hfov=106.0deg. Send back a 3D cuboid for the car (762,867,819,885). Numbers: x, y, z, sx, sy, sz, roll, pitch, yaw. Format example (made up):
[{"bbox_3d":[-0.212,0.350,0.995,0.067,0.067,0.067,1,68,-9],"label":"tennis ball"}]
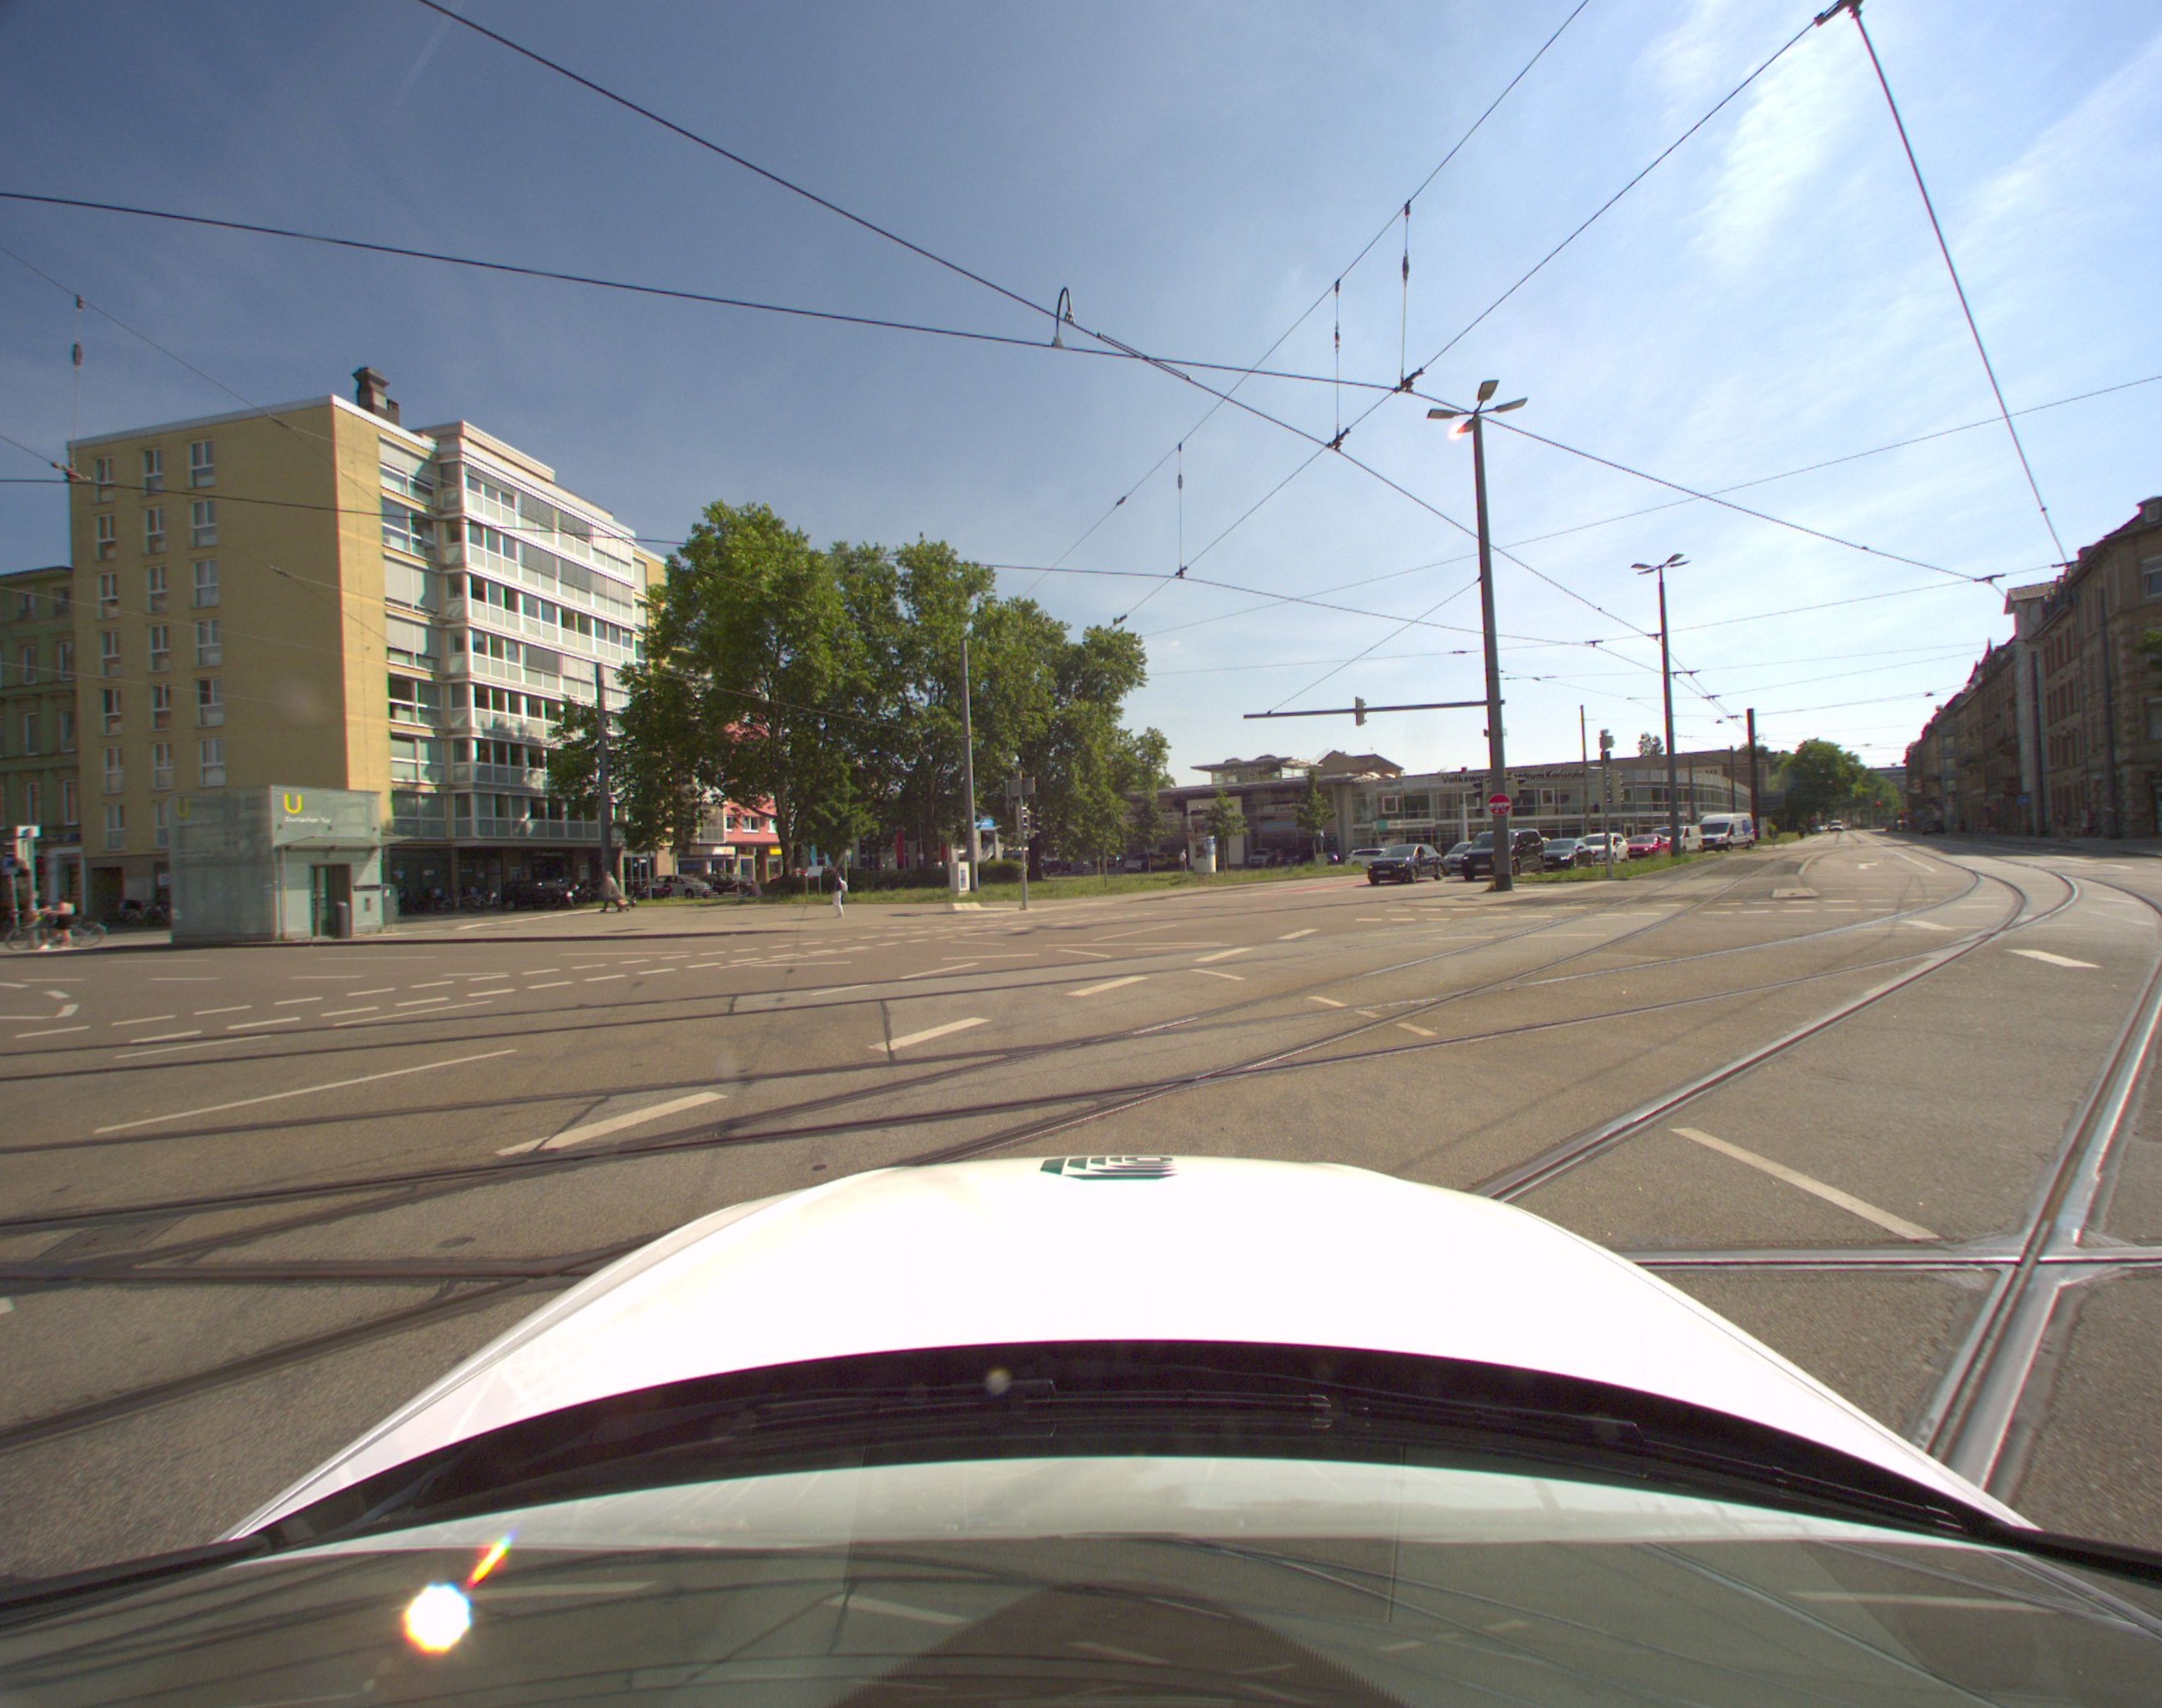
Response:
[{"bbox_3d":[-22.104,1.671,62.051,3.698,1.340,1.750,-1,0,12],"label":"car"}]

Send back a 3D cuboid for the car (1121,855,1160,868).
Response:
[{"bbox_3d":[5.687,0.698,77.932,1.974,1.244,4.026,0,1,34],"label":"car"}]

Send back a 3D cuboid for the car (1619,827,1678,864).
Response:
[{"bbox_3d":[31.801,-0.474,45.611,4.225,1.917,1.877,0,-2,-44],"label":"car"}]

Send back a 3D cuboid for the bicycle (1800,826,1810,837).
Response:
[{"bbox_3d":[80.888,-2.490,90.967,0.745,1.194,2.856,0,0,43],"label":"bicycle"}]

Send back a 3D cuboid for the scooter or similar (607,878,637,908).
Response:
[{"bbox_3d":[-17.859,1.525,31.696,1.346,1.119,0.520,-2,0,39],"label":"scooter or similar"}]

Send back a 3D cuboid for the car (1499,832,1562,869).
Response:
[{"bbox_3d":[23.246,-0.177,42.051,4.225,1.739,1.636,0,-2,-44],"label":"car"}]

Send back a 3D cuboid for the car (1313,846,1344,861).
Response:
[{"bbox_3d":[20.859,-0.079,68.524,1.813,1.195,4.024,0,1,28],"label":"car"}]

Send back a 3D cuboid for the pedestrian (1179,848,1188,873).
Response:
[{"bbox_3d":[6.832,0.426,54.153,0.466,1.595,0.389,0,0,-38],"label":"pedestrian"}]

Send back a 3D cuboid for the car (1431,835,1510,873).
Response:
[{"bbox_3d":[17.604,-0.008,36.756,4.023,1.588,1.877,0,-2,-44],"label":"car"}]

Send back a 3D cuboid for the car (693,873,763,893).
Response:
[{"bbox_3d":[-23.443,1.919,54.125,3.960,1.270,1.750,0,0,12],"label":"car"}]

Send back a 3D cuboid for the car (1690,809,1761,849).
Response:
[{"bbox_3d":[43.638,-1.639,55.071,5.899,2.575,2.192,0,0,-35],"label":"car"}]

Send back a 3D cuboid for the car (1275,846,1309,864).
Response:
[{"bbox_3d":[18.286,0.042,70.399,1.975,1.486,4.024,0,0,27],"label":"car"}]

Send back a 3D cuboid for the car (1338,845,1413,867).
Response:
[{"bbox_3d":[19.779,0.132,54.863,4.541,1.436,1.453,0,0,43],"label":"car"}]

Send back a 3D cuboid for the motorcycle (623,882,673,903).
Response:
[{"bbox_3d":[-20.076,1.766,37.802,2.043,0.842,0.635,-2,0,-28],"label":"motorcycle"}]

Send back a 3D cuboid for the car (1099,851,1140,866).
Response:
[{"bbox_3d":[4.275,0.526,89.799,3.949,1.508,2.012,-2,0,27],"label":"car"}]

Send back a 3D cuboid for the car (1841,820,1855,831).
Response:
[{"bbox_3d":[159.674,-5.945,169.546,4.023,2.213,1.814,-2,0,-44],"label":"car"}]

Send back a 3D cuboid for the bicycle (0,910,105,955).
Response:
[{"bbox_3d":[-29.997,2.261,23.767,0.745,1.130,1.808,-3,-1,29],"label":"bicycle"}]

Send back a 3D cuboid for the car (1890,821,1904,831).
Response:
[{"bbox_3d":[176.694,-6.110,176.325,4.022,2.013,1.976,-2,0,-42],"label":"car"}]

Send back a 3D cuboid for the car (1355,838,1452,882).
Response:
[{"bbox_3d":[12.604,0.212,31.694,4.234,1.588,1.874,-1,-2,-44],"label":"car"}]

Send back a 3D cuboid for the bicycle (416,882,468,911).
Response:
[{"bbox_3d":[-28.925,1.919,36.890,0.577,1.219,1.766,-2,0,22],"label":"bicycle"}]

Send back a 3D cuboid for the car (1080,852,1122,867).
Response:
[{"bbox_3d":[2.124,0.595,87.574,3.949,1.508,2.012,-2,0,27],"label":"car"}]

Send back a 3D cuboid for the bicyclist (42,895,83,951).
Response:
[{"bbox_3d":[-29.855,2.024,23.872,0.724,1.572,0.617,-3,-1,29],"label":"bicyclist"}]

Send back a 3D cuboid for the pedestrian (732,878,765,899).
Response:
[{"bbox_3d":[-15.665,1.632,38.373,1.165,0.892,0.825,-2,0,10],"label":"pedestrian"}]

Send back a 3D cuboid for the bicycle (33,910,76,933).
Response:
[{"bbox_3d":[-48.257,3.155,38.292,1.763,0.964,0.415,-3,2,10],"label":"bicycle"}]

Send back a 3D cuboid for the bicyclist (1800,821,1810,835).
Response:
[{"bbox_3d":[80.905,-2.893,91.006,0.745,1.568,1.094,0,0,43],"label":"bicyclist"}]

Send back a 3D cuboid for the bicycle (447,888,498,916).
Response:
[{"bbox_3d":[-27.611,2.169,36.976,0.577,1.085,1.766,-3,0,22],"label":"bicycle"}]

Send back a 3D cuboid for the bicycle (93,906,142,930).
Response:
[{"bbox_3d":[-44.271,2.940,37.430,1.763,0.964,0.586,-3,2,10],"label":"bicycle"}]

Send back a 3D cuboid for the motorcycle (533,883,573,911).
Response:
[{"bbox_3d":[-21.326,1.729,32.878,2.012,1.062,0.645,-2,0,37],"label":"motorcycle"}]

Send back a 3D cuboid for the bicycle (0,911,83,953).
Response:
[{"bbox_3d":[-31.389,2.327,24.426,0.579,1.130,1.800,-3,-1,6],"label":"bicycle"}]

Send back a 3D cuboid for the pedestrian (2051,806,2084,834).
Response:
[{"bbox_3d":[52.983,-1.798,43.739,0.713,1.433,0.881,-2,0,-19],"label":"pedestrian"}]

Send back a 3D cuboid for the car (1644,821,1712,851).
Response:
[{"bbox_3d":[37.395,-1.121,50.988,5.054,1.680,2.167,-2,-1,-39],"label":"car"}]

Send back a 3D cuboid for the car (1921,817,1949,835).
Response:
[{"bbox_3d":[103.024,-3.396,98.289,2.089,2.013,4.024,0,0,43],"label":"car"}]

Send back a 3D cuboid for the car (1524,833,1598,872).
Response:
[{"bbox_3d":[20.867,-0.056,35.350,1.876,1.588,4.024,-3,-2,43],"label":"car"}]

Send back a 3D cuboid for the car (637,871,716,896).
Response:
[{"bbox_3d":[-24.689,1.778,49.749,3.960,1.440,1.897,0,0,12],"label":"car"}]

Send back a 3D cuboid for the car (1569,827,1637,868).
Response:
[{"bbox_3d":[26.186,-0.330,40.810,4.225,1.917,1.877,0,-2,-44],"label":"car"}]

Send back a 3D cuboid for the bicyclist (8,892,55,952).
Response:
[{"bbox_3d":[-31.293,2.018,24.292,0.579,1.735,0.618,-3,-1,6],"label":"bicyclist"}]

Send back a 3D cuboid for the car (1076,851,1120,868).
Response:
[{"bbox_3d":[1.772,0.607,84.694,3.949,1.552,2.012,-2,0,27],"label":"car"}]

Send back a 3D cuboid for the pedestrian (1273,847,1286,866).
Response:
[{"bbox_3d":[16.502,0.227,67.779,0.944,1.580,0.537,0,0,26],"label":"pedestrian"}]

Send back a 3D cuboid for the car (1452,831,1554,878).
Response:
[{"bbox_3d":[15.900,-0.014,30.570,4.743,1.587,1.943,-2,0,-44],"label":"car"}]

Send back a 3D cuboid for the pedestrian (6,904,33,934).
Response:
[{"bbox_3d":[-50.841,3.092,39.010,0.640,1.374,0.528,-2,0,11],"label":"pedestrian"}]

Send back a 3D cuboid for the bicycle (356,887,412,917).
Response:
[{"bbox_3d":[-31.225,2.150,36.531,0.536,1.186,1.897,-2,0,14],"label":"bicycle"}]

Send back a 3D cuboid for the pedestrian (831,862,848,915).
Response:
[{"bbox_3d":[-7.466,1.069,25.181,0.452,1.605,0.399,0,0,-7],"label":"pedestrian"}]

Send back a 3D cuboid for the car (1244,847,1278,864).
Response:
[{"bbox_3d":[15.888,0.100,71.762,1.975,1.486,4.024,0,0,27],"label":"car"}]

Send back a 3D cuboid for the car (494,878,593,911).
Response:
[{"bbox_3d":[-26.261,2.005,39.827,4.052,1.471,1.665,-2,-3,12],"label":"car"}]

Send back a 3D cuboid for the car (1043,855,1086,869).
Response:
[{"bbox_3d":[-1.696,0.798,83.117,3.949,1.371,2.012,0,0,28],"label":"car"}]

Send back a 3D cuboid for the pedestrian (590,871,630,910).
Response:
[{"bbox_3d":[-17.416,1.331,30.137,1.108,1.404,0.658,0,0,7],"label":"pedestrian"}]

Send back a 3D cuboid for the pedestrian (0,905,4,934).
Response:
[{"bbox_3d":[-52.287,3.159,39.079,0.525,1.354,0.528,-2,0,12],"label":"pedestrian"}]

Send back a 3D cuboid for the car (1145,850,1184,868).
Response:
[{"bbox_3d":[7.920,0.473,77.147,1.974,1.684,4.026,0,0,34],"label":"car"}]
